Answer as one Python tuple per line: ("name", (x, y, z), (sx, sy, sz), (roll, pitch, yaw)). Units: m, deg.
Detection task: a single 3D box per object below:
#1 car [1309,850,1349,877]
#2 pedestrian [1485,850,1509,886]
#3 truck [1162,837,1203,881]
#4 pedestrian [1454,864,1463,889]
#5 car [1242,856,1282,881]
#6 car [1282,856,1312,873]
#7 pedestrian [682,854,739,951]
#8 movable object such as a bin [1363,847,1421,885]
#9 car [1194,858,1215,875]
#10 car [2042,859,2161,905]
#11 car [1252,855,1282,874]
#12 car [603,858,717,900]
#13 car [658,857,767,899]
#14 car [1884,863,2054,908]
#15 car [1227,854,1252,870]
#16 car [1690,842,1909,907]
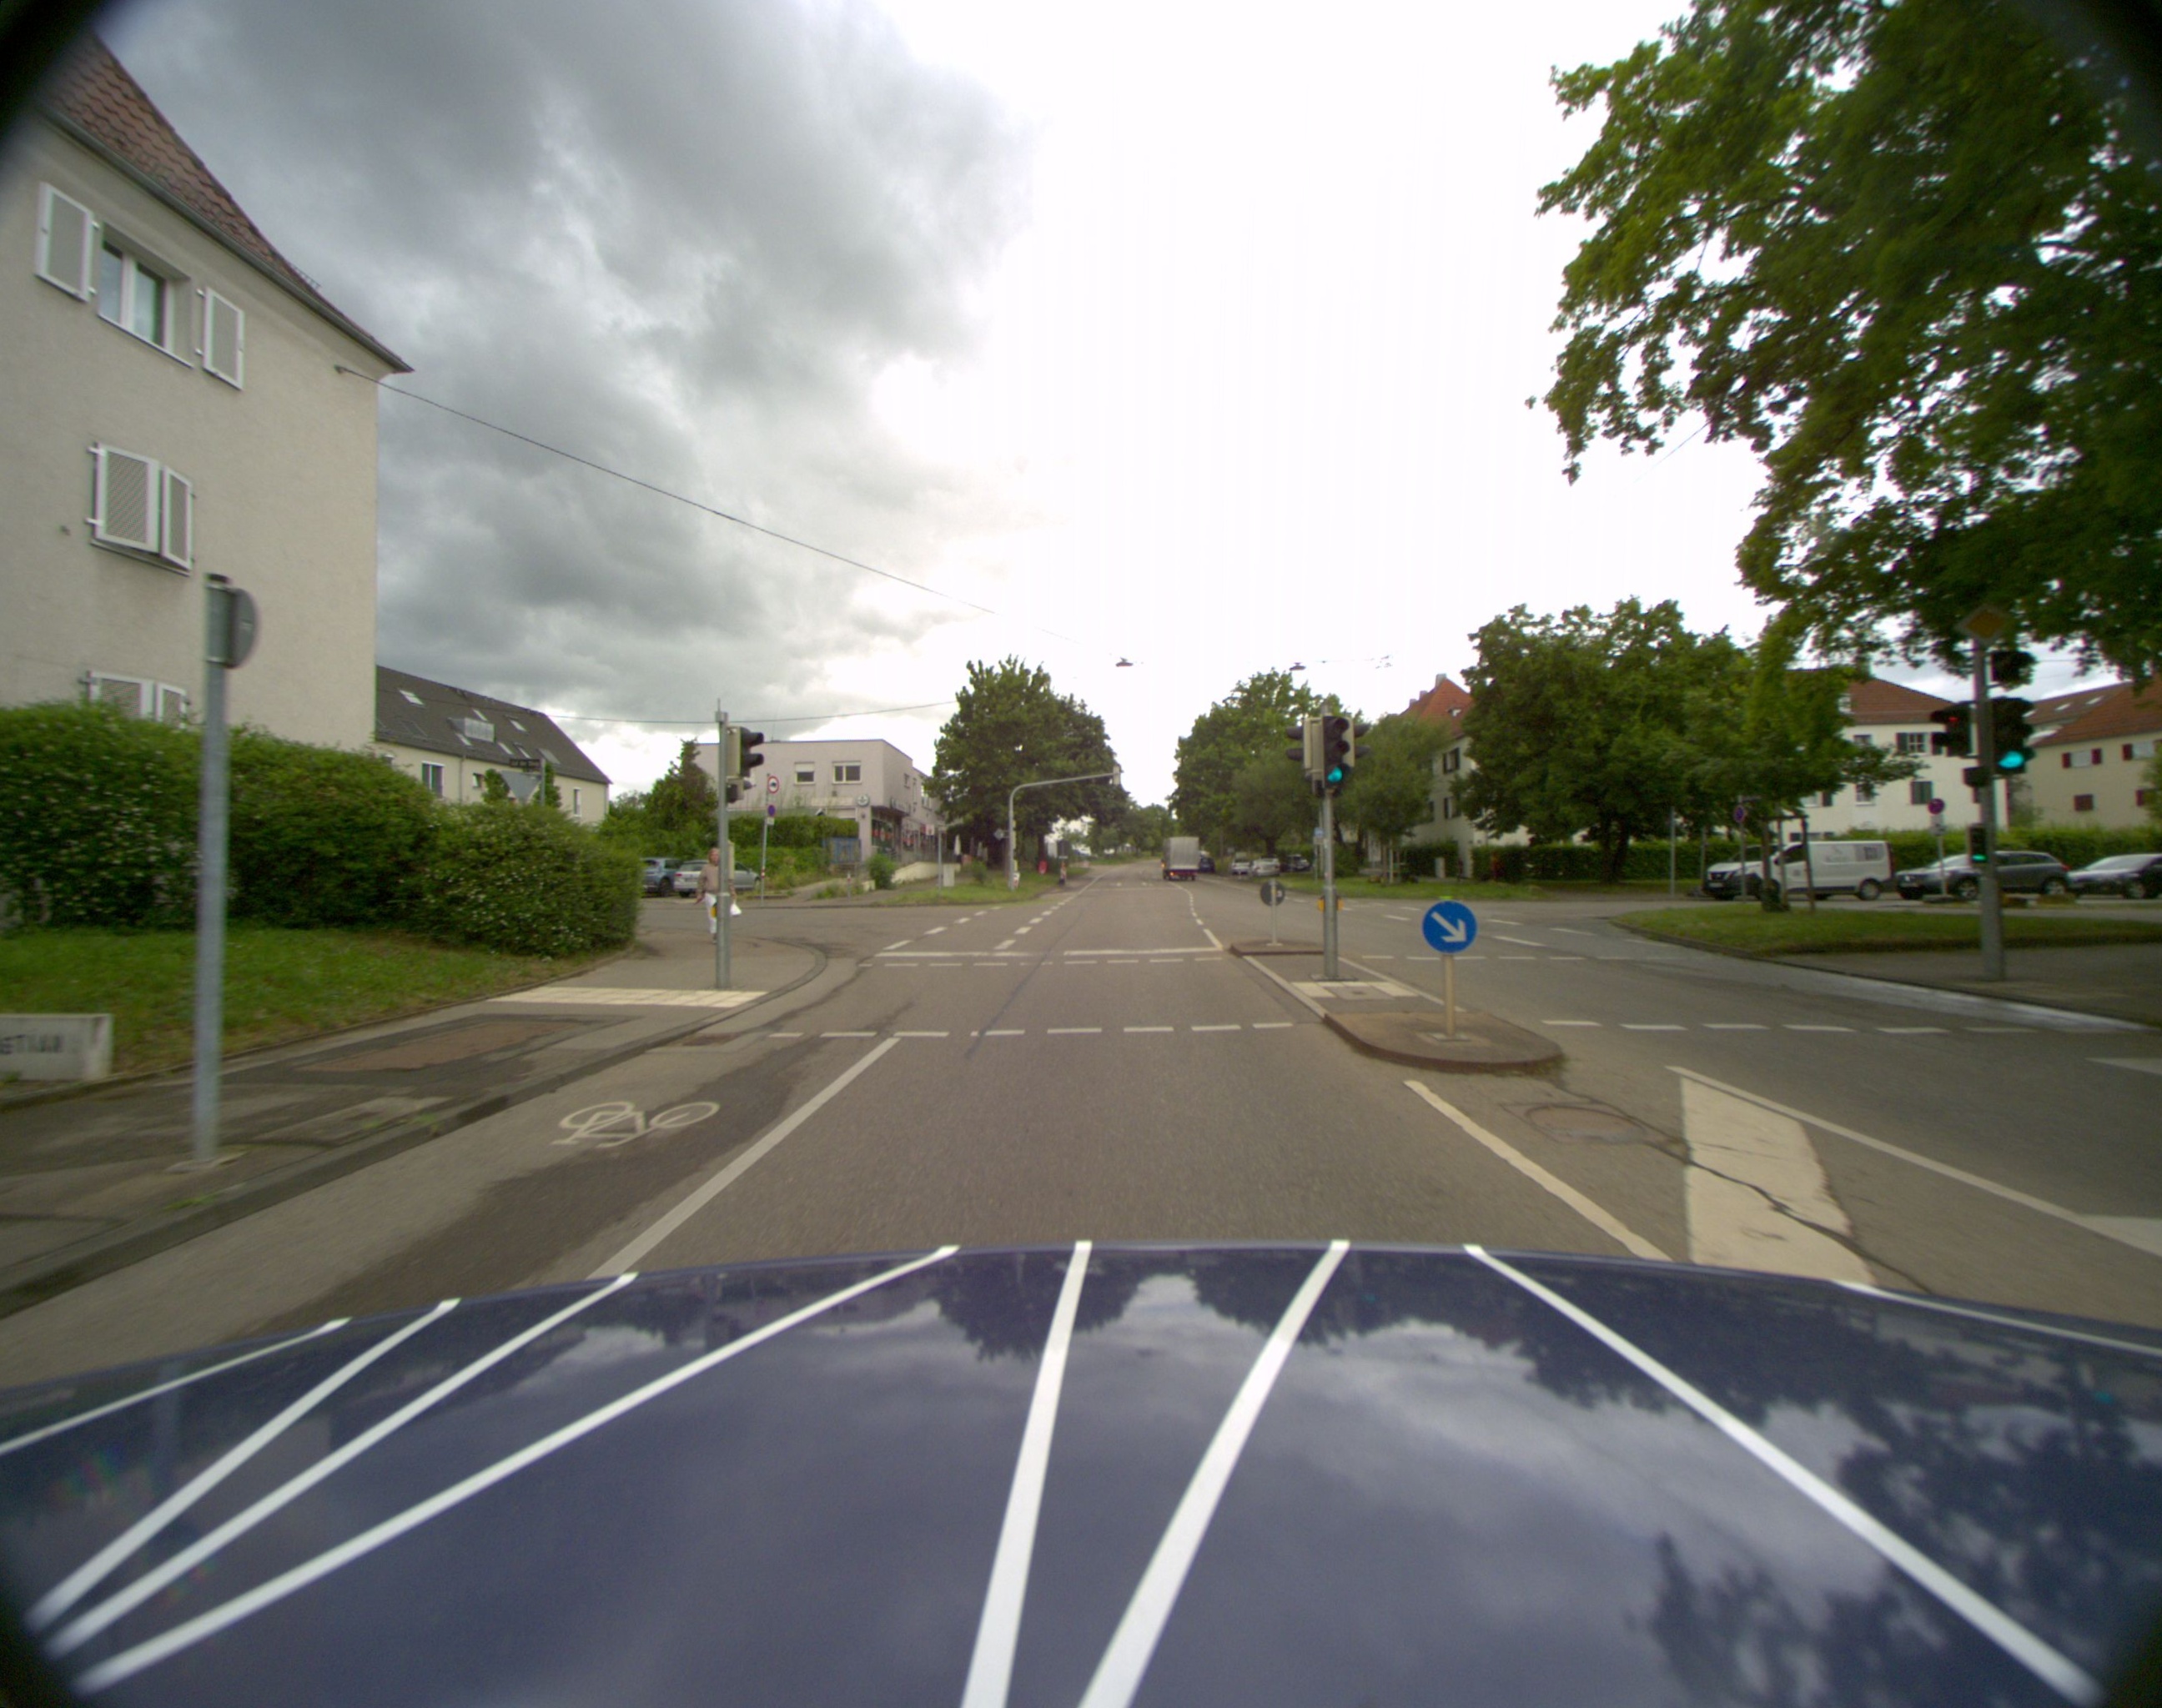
("car", (18.160, 0.689, 55.825), (1.755, 1.878, 4.001), (-2, 0, 3))
("pedestrian", (20.417, 0.695, 37.302), (0.778, 1.746, 0.688), (-2, 1, -29))
("truck", (7.790, 0.375, 59.259), (2.371, 3.218, 7.217), (-1, 0, 1))
("pedestrian", (18.913, 1.128, 38.057), (0.358, 1.264, 0.360), (0, 1, 25))
("car", (13.076, 0.988, 55.057), (1.998, 1.666, 4.547), (-2, 0, 3))
("car", (18.754, 0.882, 66.048), (1.680, 1.422, 3.873), (-2, 0, 3))
("pedestrian", (-6.593, 0.858, 13.540), (0.658, 1.675, 0.575), (1, -1, 3))
("movable object such as a bin", (16.057, 0.608, 39.398), (1.099, 1.892, 3.247), (-2, 0, -12))
("car", (12.662, 1.249, 77.971), (1.997, 1.674, 4.002), (-2, 0, 8))
("car", (33.553, 0.873, 24.296), (3.535, 1.305, 1.538), (-2, 0, 4))
("car", (16.460, 0.900, 67.313), (1.860, 1.596, 4.001), (-2, 0, 4))
("car", (-17.062, 0.960, 31.082), (1.998, 1.524, 4.612), (-2, 0, 1))
("car", (-14.561, 0.910, 30.339), (1.998, 1.455, 4.612), (-2, 0, 1))
("car", (28.782, 1.001, 24.714), (3.535, 1.305, 1.538), (-2, 0, 4))
("car", (14.132, 0.721, 67.813), (1.604, 1.346, 4.001), (-2, 0, 4))
("car", (23.471, 0.656, 24.987), (5.152, 1.906, 2.000), (-2, 0, 3))
